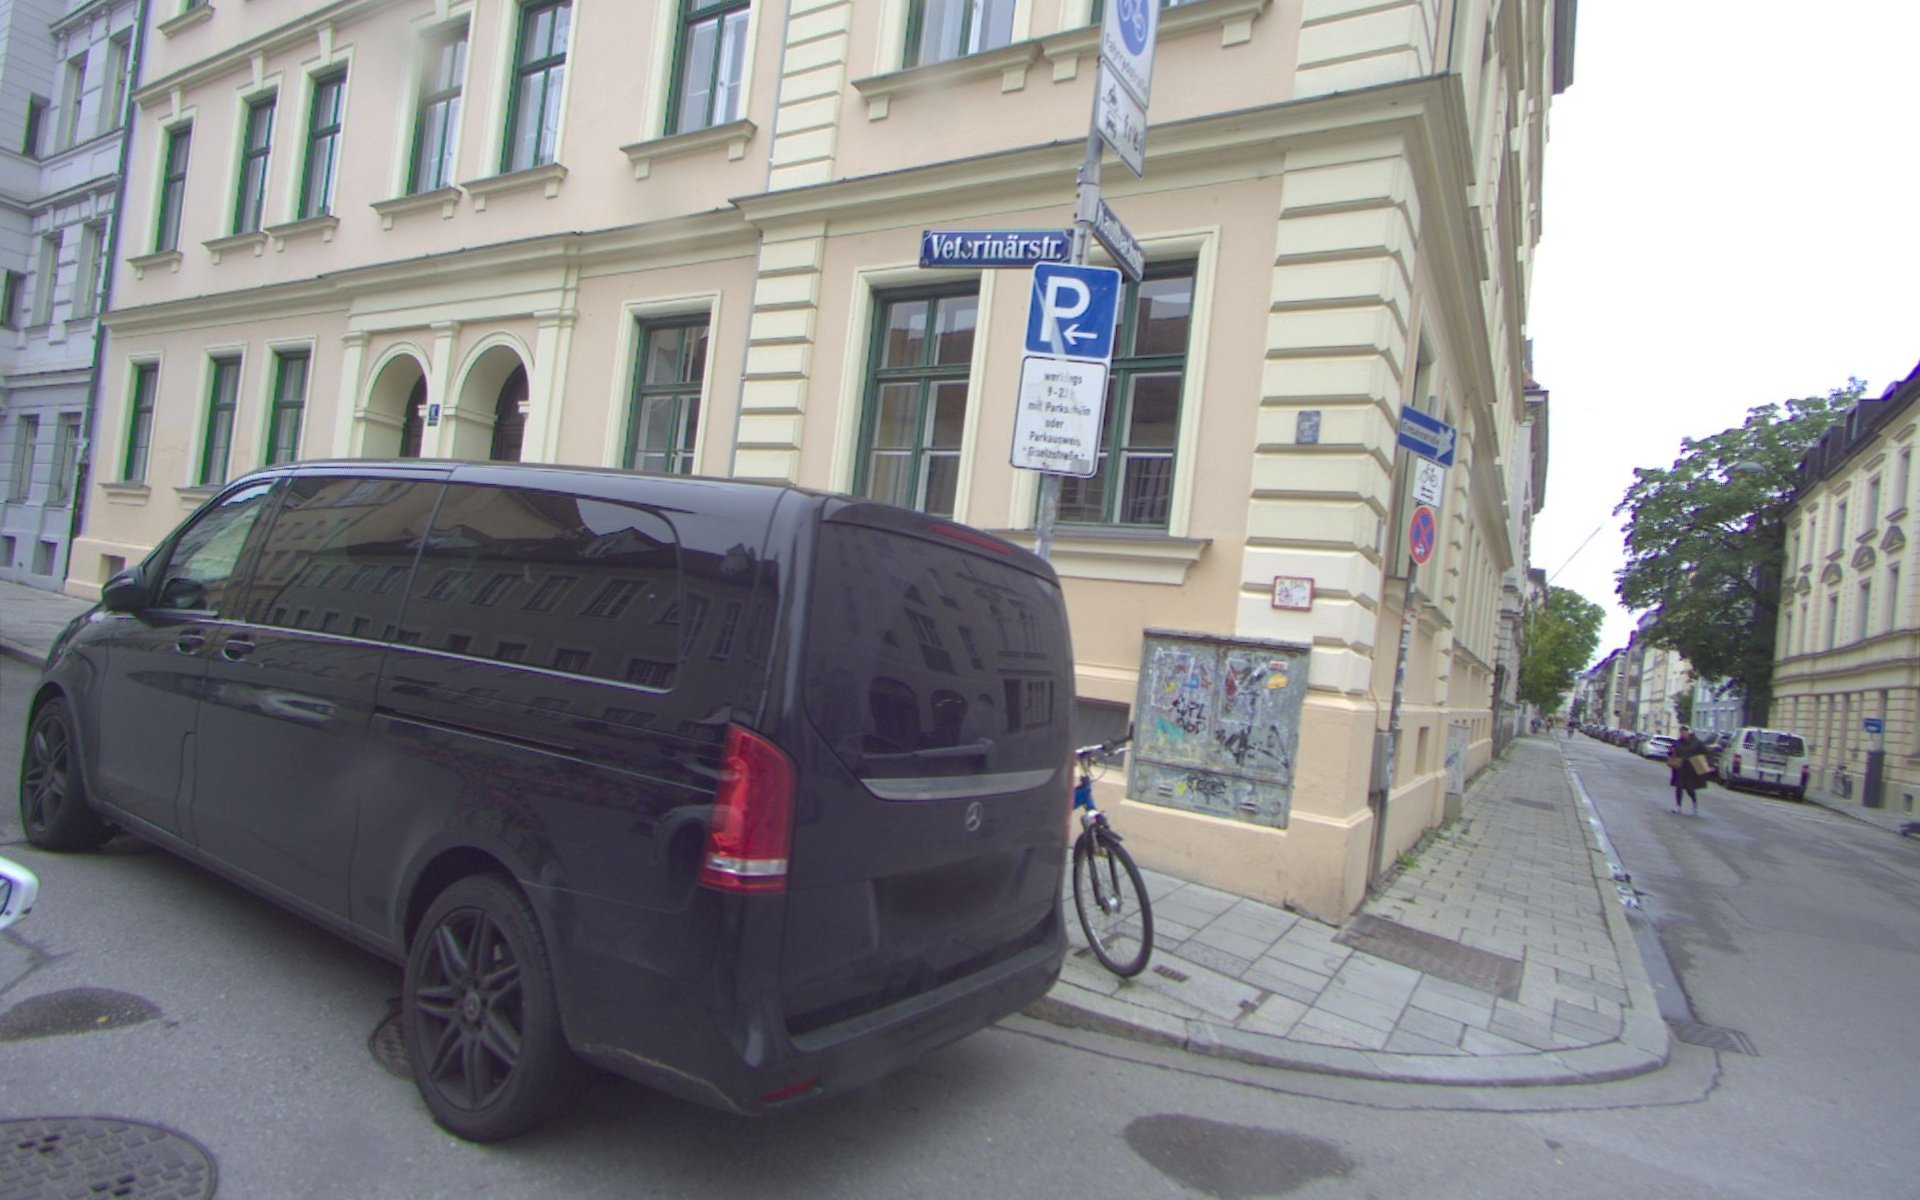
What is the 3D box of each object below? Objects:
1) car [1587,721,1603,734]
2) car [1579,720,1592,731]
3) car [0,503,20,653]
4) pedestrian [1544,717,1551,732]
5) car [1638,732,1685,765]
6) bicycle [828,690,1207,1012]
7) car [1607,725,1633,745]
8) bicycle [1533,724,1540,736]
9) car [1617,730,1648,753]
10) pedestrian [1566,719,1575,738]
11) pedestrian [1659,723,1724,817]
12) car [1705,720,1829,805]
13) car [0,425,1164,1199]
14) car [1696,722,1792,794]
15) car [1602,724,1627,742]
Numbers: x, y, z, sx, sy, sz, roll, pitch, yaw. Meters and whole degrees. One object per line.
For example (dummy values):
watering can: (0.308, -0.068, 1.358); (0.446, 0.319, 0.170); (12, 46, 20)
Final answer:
car: (89.404, 17.959, 141.625); (1.640, 1.432, 3.786); (10, 0, 31)
car: (110.895, 22.251, 178.453); (1.640, 1.432, 3.786); (10, 0, 31)
car: (-11.549, -0.436, 10.229); (4.204, 1.538, 1.758); (6, -2, 32)
pedestrian: (62.812, 13.306, 107.556); (0.539, 1.450, 0.470); (5, -1, 31)
car: (40.468, 8.535, 58.114); (1.640, 1.432, 3.787); (10, 0, 30)
bicycle: (0.227, 1.117, 4.883); (1.700, 1.066, 0.465); (9, 2, 32)
car: (61.341, 12.550, 93.519); (1.640, 1.432, 3.786); (10, 0, 31)
bicycle: (51.105, 11.514, 89.168); (0.385, 0.973, 1.541); (7, -3, 34)
car: (53.980, 11.311, 80.810); (1.640, 1.432, 3.786); (10, 0, 31)
pedestrian: (55.670, 11.711, 91.731); (0.582, 1.731, 0.584); (5, -2, 31)
pedestrian: (14.152, 3.265, 19.459); (0.807, 1.647, 0.867); (4, -2, 44)
car: (24.841, 4.933, 31.139); (2.042, 2.009, 4.341); (10, 0, 30)
car: (-2.028, 0.455, 4.327); (5.167, 1.885, 2.001); (6, -2, 33)
car: (27.820, 5.549, 35.836); (1.794, 2.009, 4.341); (10, 0, 30)
car: (64.229, 13.017, 98.714); (1.640, 1.432, 3.786); (10, 0, 31)
